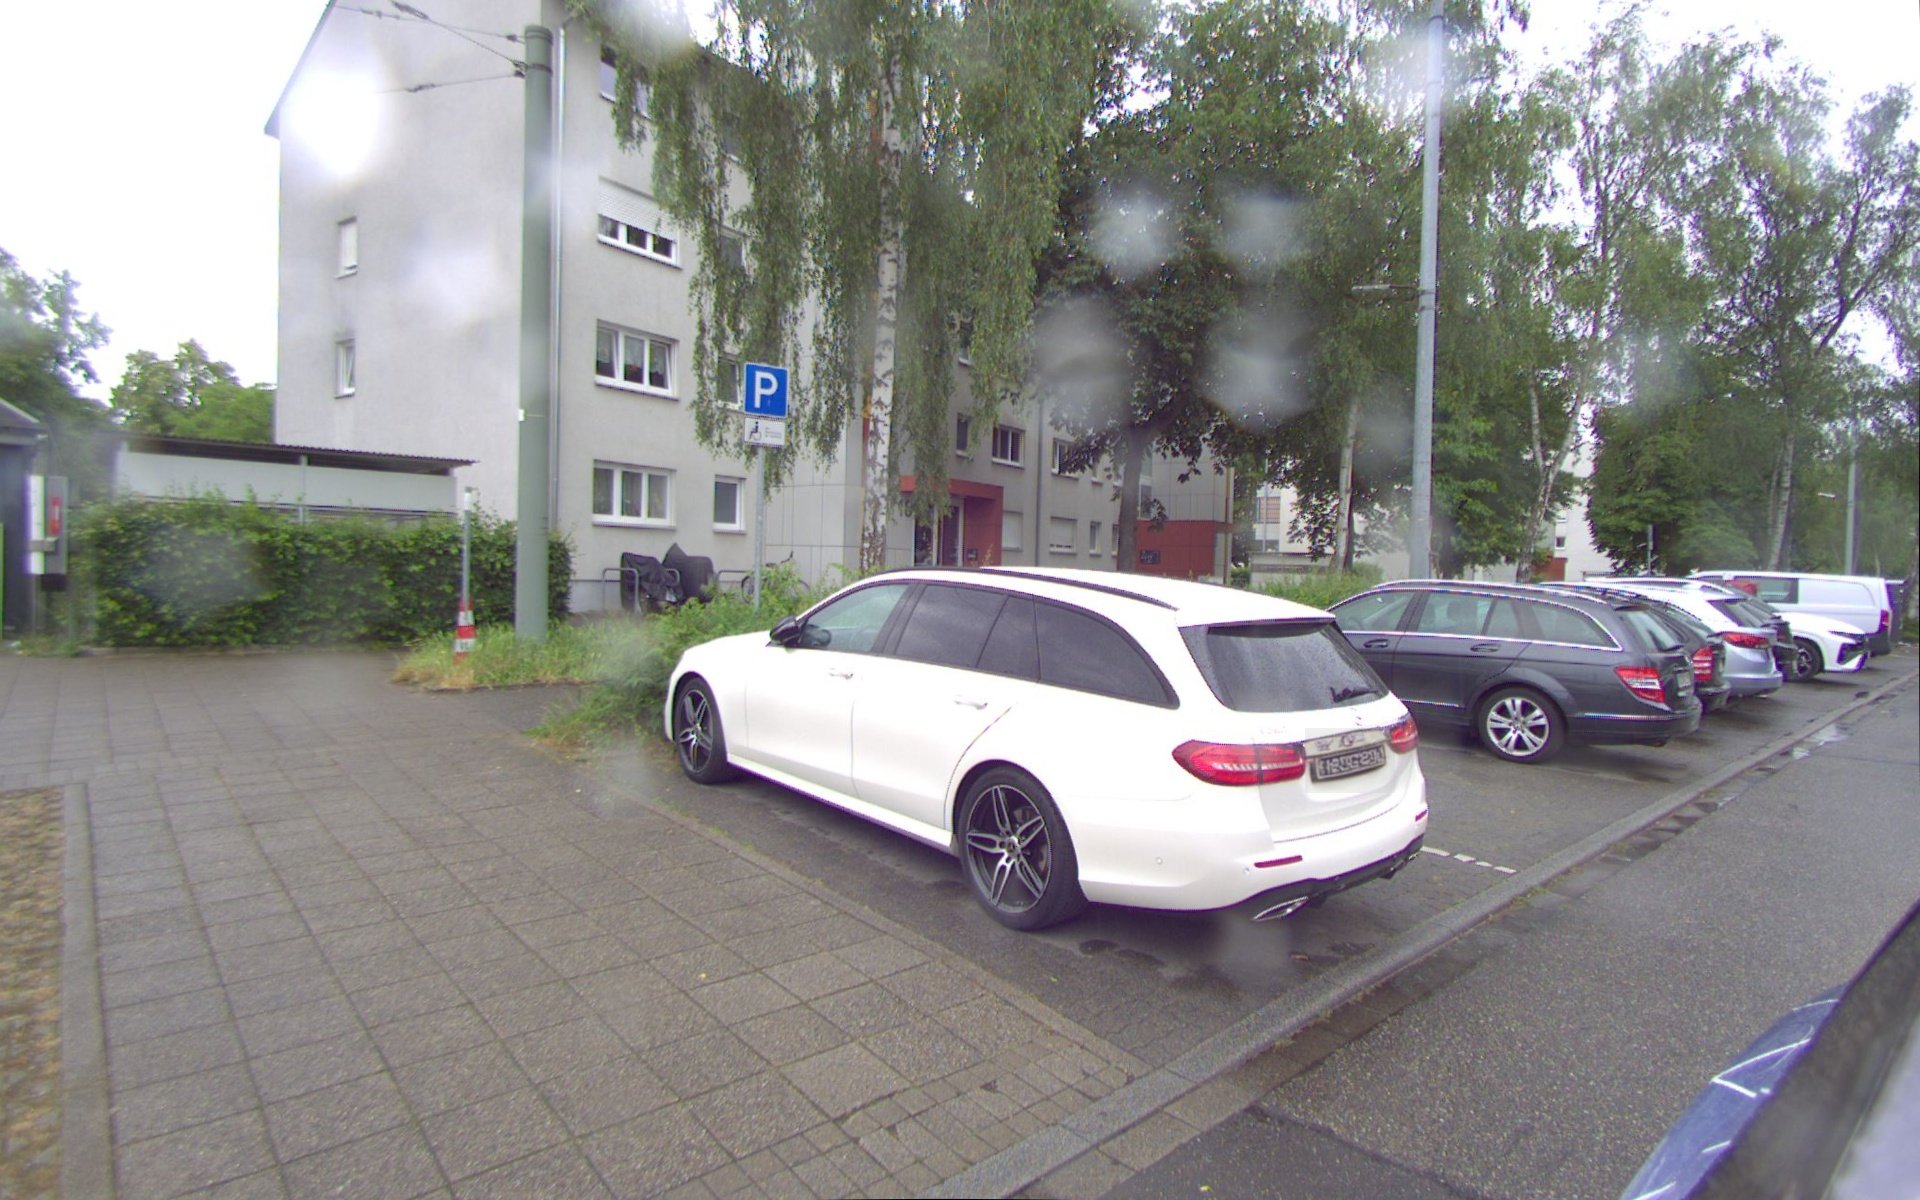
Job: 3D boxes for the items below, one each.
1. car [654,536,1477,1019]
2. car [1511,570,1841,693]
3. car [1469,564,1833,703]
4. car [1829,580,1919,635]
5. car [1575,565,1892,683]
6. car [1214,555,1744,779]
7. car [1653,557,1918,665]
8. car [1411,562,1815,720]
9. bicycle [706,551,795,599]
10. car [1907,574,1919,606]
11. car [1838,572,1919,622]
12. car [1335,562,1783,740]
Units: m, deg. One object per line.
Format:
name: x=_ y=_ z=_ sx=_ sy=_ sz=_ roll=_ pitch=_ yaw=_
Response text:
car: x=0.086 y=0.471 z=5.615 sx=1.651 sy=1.456 sz=4.622 roll=-1 pitch=5 yaw=-41
car: x=11.399 y=0.394 z=16.322 sx=1.653 sy=1.514 sz=4.044 roll=-1 pitch=5 yaw=-43
car: x=9.850 y=0.356 z=14.678 sx=1.653 sy=1.514 sz=4.044 roll=-1 pitch=5 yaw=-43
car: x=34.429 y=0.260 z=36.808 sx=1.866 sy=1.937 sz=3.998 roll=-1 pitch=0 yaw=-36
car: x=13.711 y=0.318 z=18.167 sx=1.651 sy=1.637 sz=4.181 roll=0 pitch=5 yaw=-40
car: x=4.607 y=0.417 z=9.462 sx=1.653 sy=1.456 sz=4.044 roll=-1 pitch=5 yaw=-43
car: x=17.541 y=0.135 z=21.666 sx=4.172 sy=1.888 sz=1.654 roll=6 pitch=5 yaw=43
car: x=8.236 y=0.385 z=13.048 sx=1.653 sy=1.514 sz=4.044 roll=-1 pitch=5 yaw=-43
bicycle: x=-4.521 y=-0.532 z=21.973 sx=0.701 sy=1.005 sz=1.918 roll=0 pitch=0 yaw=37
car: x=53.238 y=-0.535 z=53.763 sx=1.866 sy=1.701 sz=3.998 roll=-1 pitch=1 yaw=-36
car: x=37.747 y=-0.135 z=40.240 sx=1.866 sy=1.937 sz=3.998 roll=-1 pitch=0 yaw=-36
car: x=6.611 y=0.414 z=11.519 sx=1.653 sy=1.456 sz=4.044 roll=-1 pitch=5 yaw=-43
